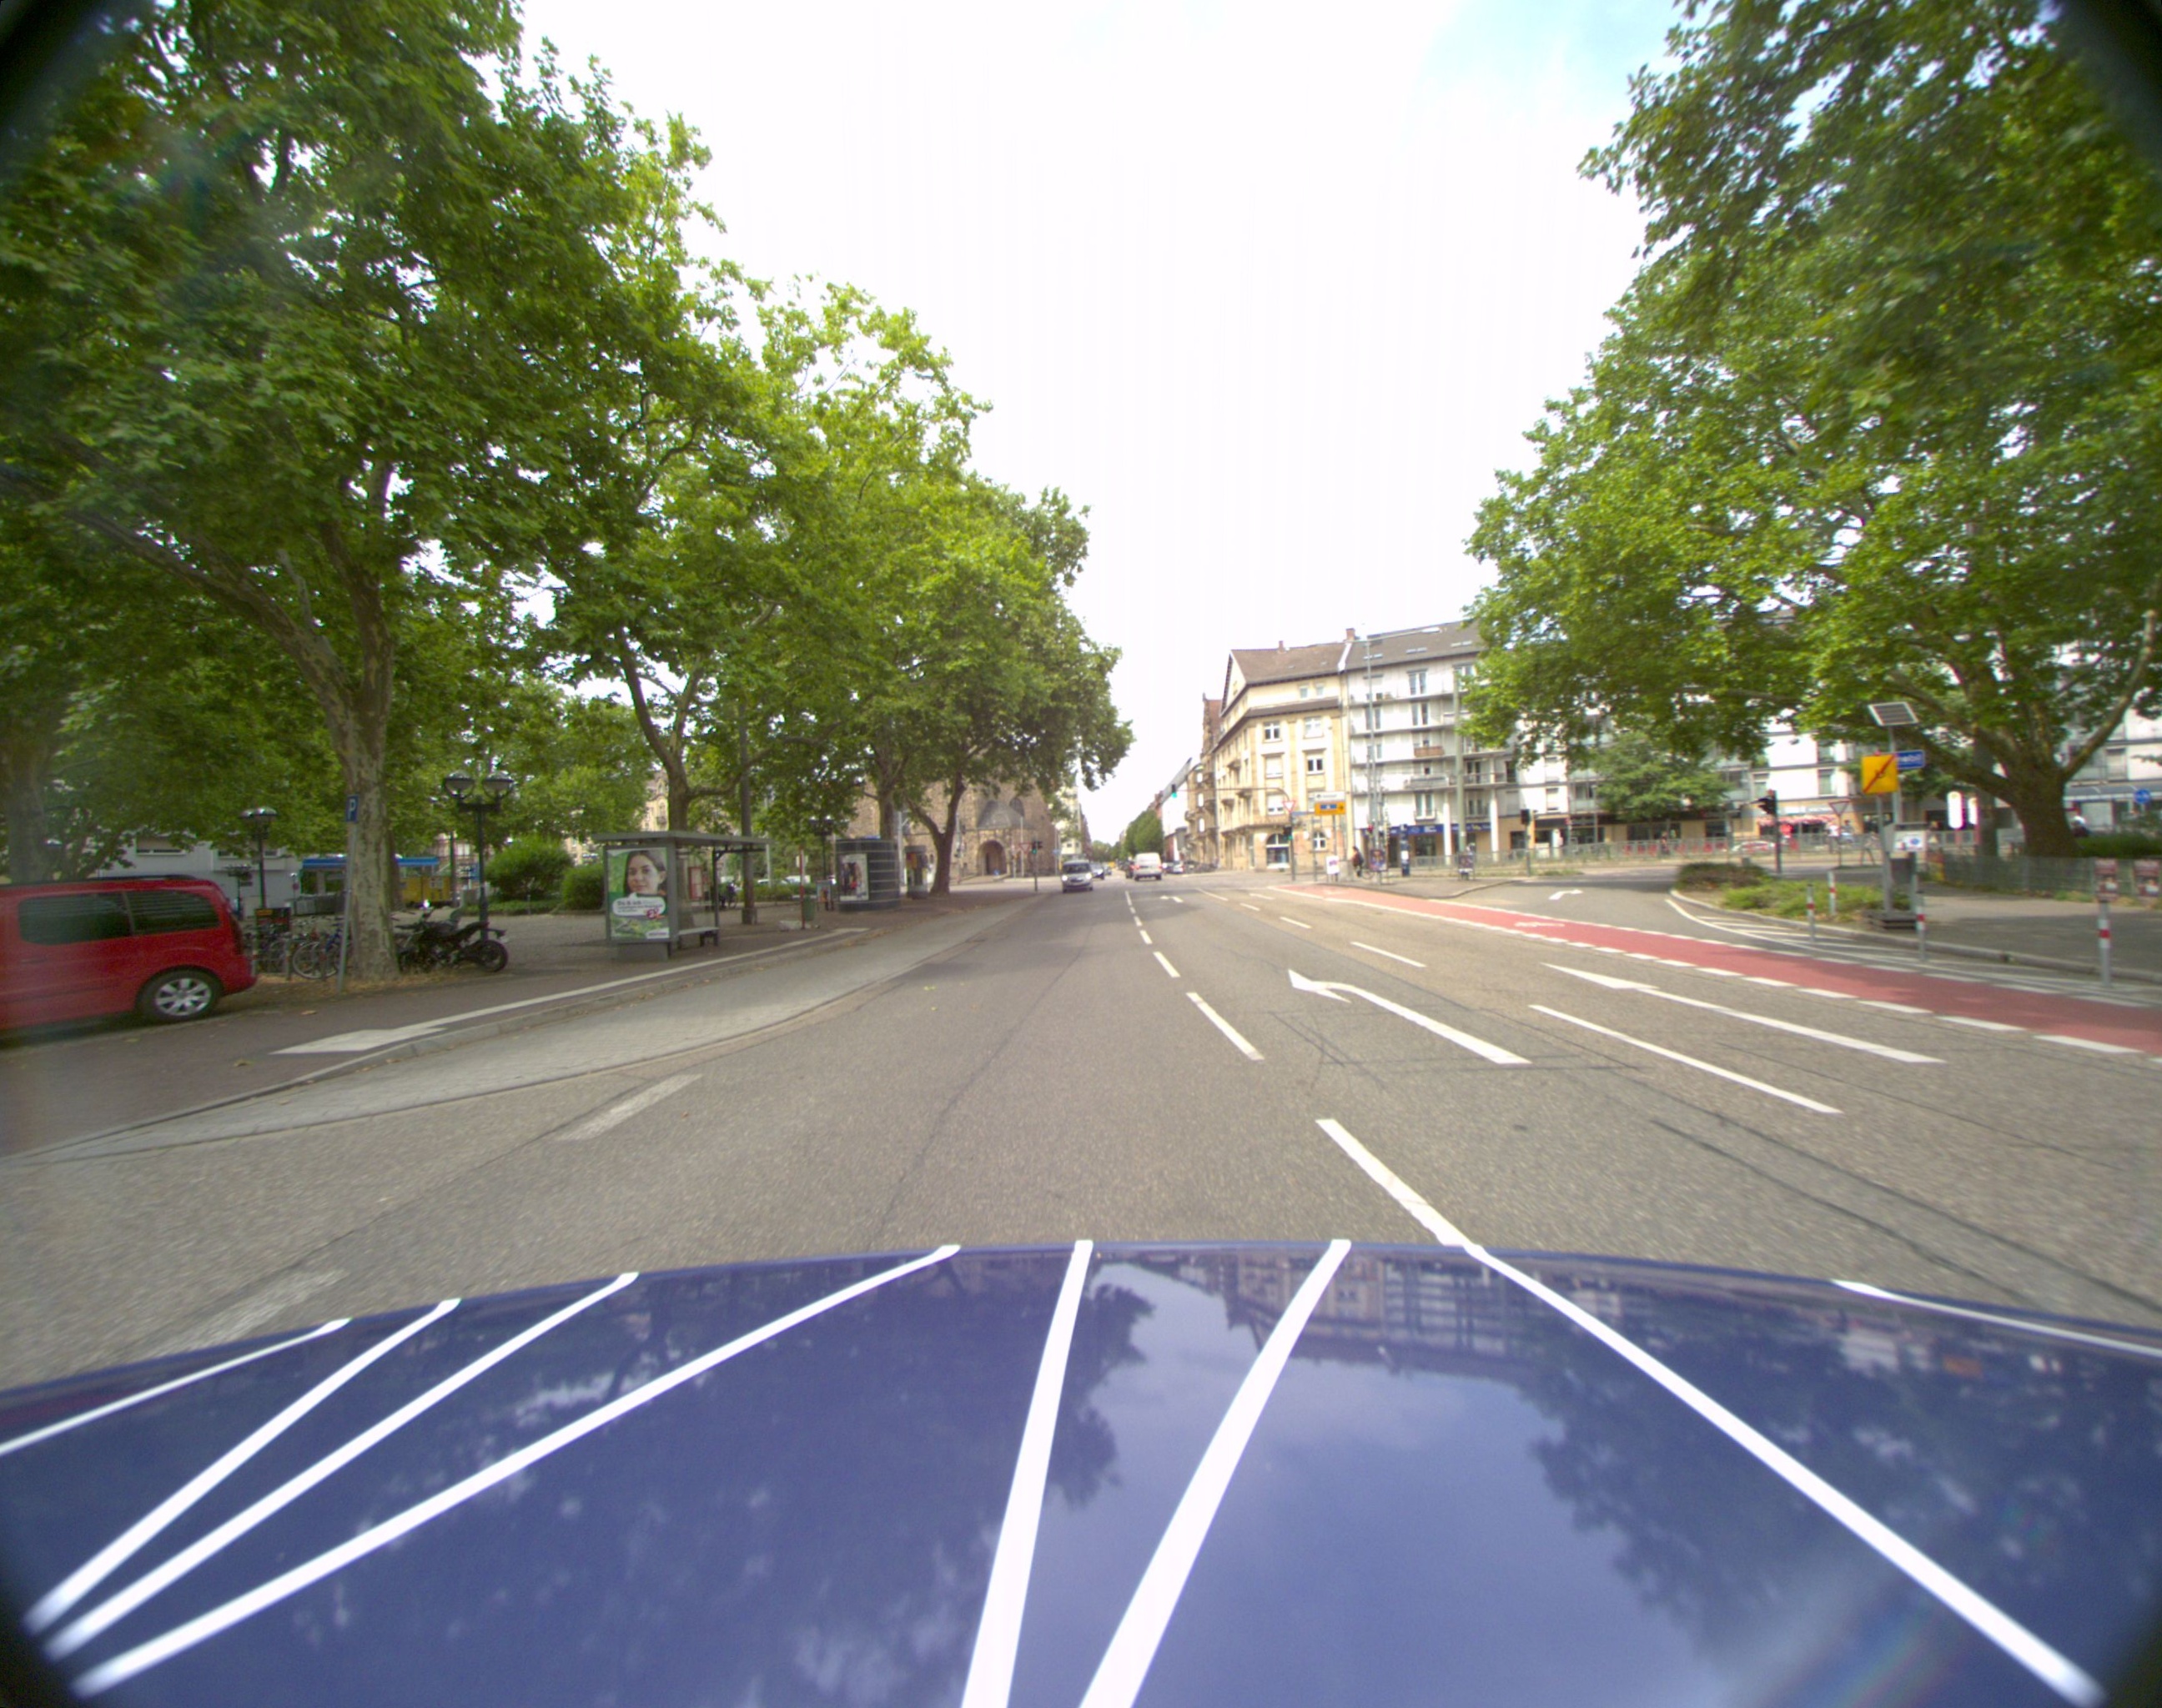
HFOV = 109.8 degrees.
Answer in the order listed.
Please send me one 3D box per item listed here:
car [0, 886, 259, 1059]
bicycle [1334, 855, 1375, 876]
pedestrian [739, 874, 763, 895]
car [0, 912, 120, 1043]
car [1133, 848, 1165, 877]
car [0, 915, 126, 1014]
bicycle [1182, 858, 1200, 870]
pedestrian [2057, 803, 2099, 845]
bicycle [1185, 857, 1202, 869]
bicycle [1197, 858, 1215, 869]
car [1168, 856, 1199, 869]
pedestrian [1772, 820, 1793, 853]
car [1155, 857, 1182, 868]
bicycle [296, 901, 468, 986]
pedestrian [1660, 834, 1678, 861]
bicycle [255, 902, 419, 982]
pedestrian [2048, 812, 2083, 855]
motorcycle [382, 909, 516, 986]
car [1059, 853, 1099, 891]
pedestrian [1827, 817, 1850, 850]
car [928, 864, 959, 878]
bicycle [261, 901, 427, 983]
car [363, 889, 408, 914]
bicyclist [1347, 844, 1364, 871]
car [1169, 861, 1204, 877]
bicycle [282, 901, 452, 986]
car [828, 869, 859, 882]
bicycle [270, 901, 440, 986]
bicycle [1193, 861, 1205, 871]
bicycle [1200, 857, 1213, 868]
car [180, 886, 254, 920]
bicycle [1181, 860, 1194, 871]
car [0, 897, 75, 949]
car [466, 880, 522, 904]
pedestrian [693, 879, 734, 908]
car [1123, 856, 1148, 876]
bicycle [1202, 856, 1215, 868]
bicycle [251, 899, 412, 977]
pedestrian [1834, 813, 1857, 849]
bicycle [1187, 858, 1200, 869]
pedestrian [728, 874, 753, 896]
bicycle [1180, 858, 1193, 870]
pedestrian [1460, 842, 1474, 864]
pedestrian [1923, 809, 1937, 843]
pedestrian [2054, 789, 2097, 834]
[{"bbox_3d":[-12.273,1.330,8.070,1.934,1.696,4.337,-2,0,21],"label":"car"},{"bbox_3d":[13.913,0.584,38.708,1.966,1.088,0.628,-1,0,19],"label":"bicycle"},{"bbox_3d":[-21.677,2.020,49.929,1.176,1.310,0.869,-3,-1,24],"label":"pedestrian"},{"bbox_3d":[-14.631,1.619,8.757,1.829,1.543,4.006,-2,0,22],"label":"car"},{"bbox_3d":[5.029,0.649,56.614,1.928,1.925,4.948,-3,-1,1],"label":"car"},{"bbox_3d":[-18.513,1.874,11.879,1.995,1.455,4.006,-2,0,22],"label":"car"},{"bbox_3d":[12.386,1.099,85.258,1.872,1.185,0.456,-3,-1,21],"label":"bicycle"},{"bbox_3d":[48.514,-1.447,36.996,0.871,2.001,0.854,-3,-1,25],"label":"pedestrian"},{"bbox_3d":[12.794,1.059,86.365,1.821,1.185,0.397,-6,0,-2],"label":"bicycle"},{"bbox_3d":[14.102,1.074,85.898,1.830,1.185,0.398,-5,-1,1],"label":"bicycle"},{"bbox_3d":[13.342,1.076,98.562,3.835,1.526,1.755,-2,-1,-37],"label":"car"},{"bbox_3d":[44.362,-1.098,48.055,0.756,2.001,0.762,-2,0,26],"label":"pedestrian"},{"bbox_3d":[13.528,1.309,117.126,3.834,1.526,1.755,-2,-1,-33],"label":"car"},{"bbox_3d":[-13.021,1.612,14.254,0.419,1.369,2.316,-2,-1,34],"label":"bicycle"},{"bbox_3d":[33.953,-0.376,43.913,0.597,1.543,0.671,-2,0,19],"label":"pedestrian"},{"bbox_3d":[-15.146,1.746,15.563,0.419,1.370,2.316,-2,0,34],"label":"bicycle"},{"bbox_3d":[37.899,-0.793,29.253,0.505,1.614,0.697,-2,0,23],"label":"pedestrian"},{"bbox_3d":[-11.134,1.633,13.416,1.859,1.215,0.531,-3,-1,-1],"label":"motorcycle"},{"bbox_3d":[-0.064,1.037,44.897,2.081,2.038,4.682,-2,-1,3],"label":"car"},{"bbox_3d":[47.228,-1.245,47.402,0.756,2.001,0.762,-2,0,26],"label":"pedestrian"},{"bbox_3d":[-18.269,2.266,101.018,1.995,1.641,4.007,-3,-1,26],"label":"car"},{"bbox_3d":[-14.643,1.701,15.196,0.419,1.370,2.316,-2,-1,34],"label":"bicycle"},{"bbox_3d":[-55.093,3.755,60.156,3.989,1.805,2.004,-3,-1,39],"label":"car"},{"bbox_3d":[13.969,0.168,38.658,0.751,1.334,0.493,-3,-1,19],"label":"bicyclist"},{"bbox_3d":[12.885,1.795,92.470,4.042,1.579,1.756,-5,-2,-37],"label":"car"},{"bbox_3d":[-13.583,1.658,14.557,0.419,1.370,2.316,-2,-1,34],"label":"bicycle"},{"bbox_3d":[-33.789,3.003,108.076,1.995,1.631,3.961,-3,-1,26],"label":"car"},{"bbox_3d":[-14.131,1.692,14.891,0.419,1.370,2.316,-2,0,34],"label":"bicycle"},{"bbox_3d":[13.684,1.378,88.092,1.345,1.185,0.397,-3,-1,0],"label":"bicycle"},{"bbox_3d":[14.359,0.959,87.069,1.345,1.185,0.397,-5,0,-4],"label":"bicycle"},{"bbox_3d":[-59.092,3.368,51.971,4.019,2.095,2.003,-3,0,21],"label":"car"},{"bbox_3d":[12.437,1.309,88.458,1.345,1.185,0.397,-5,-1,0],"label":"bicycle"},{"bbox_3d":[-40.809,2.637,29.030,4.322,1.805,2.003,-3,0,26],"label":"car"},{"bbox_3d":[-51.841,3.365,67.084,4.372,1.866,2.003,-3,-1,23],"label":"car"},{"bbox_3d":[-16.308,1.764,33.747,1.096,1.206,1.142,-2,0,27],"label":"pedestrian"},{"bbox_3d":[4.682,1.032,65.733,1.826,1.637,4.428,-3,-1,1],"label":"car"},{"bbox_3d":[14.506,0.932,86.483,1.345,1.185,0.397,-5,0,-4],"label":"bicycle"},{"bbox_3d":[-15.608,1.712,15.923,0.419,1.370,2.316,-2,0,34],"label":"bicycle"},{"bbox_3d":[48.570,-1.455,48.260,0.756,2.237,0.762,-2,0,26],"label":"pedestrian"},{"bbox_3d":[12.895,1.123,87.026,1.345,1.185,0.397,-4,0,-2],"label":"bicycle"},{"bbox_3d":[-21.945,2.005,49.001,1.176,1.310,0.869,-3,-1,24],"label":"pedestrian"},{"bbox_3d":[12.191,1.162,87.730,1.345,1.185,0.397,-5,0,-5],"label":"bicycle"},{"bbox_3d":[28.559,-0.065,56.257,0.837,1.543,0.869,-2,0,25],"label":"pedestrian"},{"bbox_3d":[51.783,-1.702,46.333,0.369,2.001,0.503,-2,0,25],"label":"pedestrian"},{"bbox_3d":[37.479,-1.598,28.636,0.683,1.626,0.697,-2,0,23],"label":"pedestrian"}]
